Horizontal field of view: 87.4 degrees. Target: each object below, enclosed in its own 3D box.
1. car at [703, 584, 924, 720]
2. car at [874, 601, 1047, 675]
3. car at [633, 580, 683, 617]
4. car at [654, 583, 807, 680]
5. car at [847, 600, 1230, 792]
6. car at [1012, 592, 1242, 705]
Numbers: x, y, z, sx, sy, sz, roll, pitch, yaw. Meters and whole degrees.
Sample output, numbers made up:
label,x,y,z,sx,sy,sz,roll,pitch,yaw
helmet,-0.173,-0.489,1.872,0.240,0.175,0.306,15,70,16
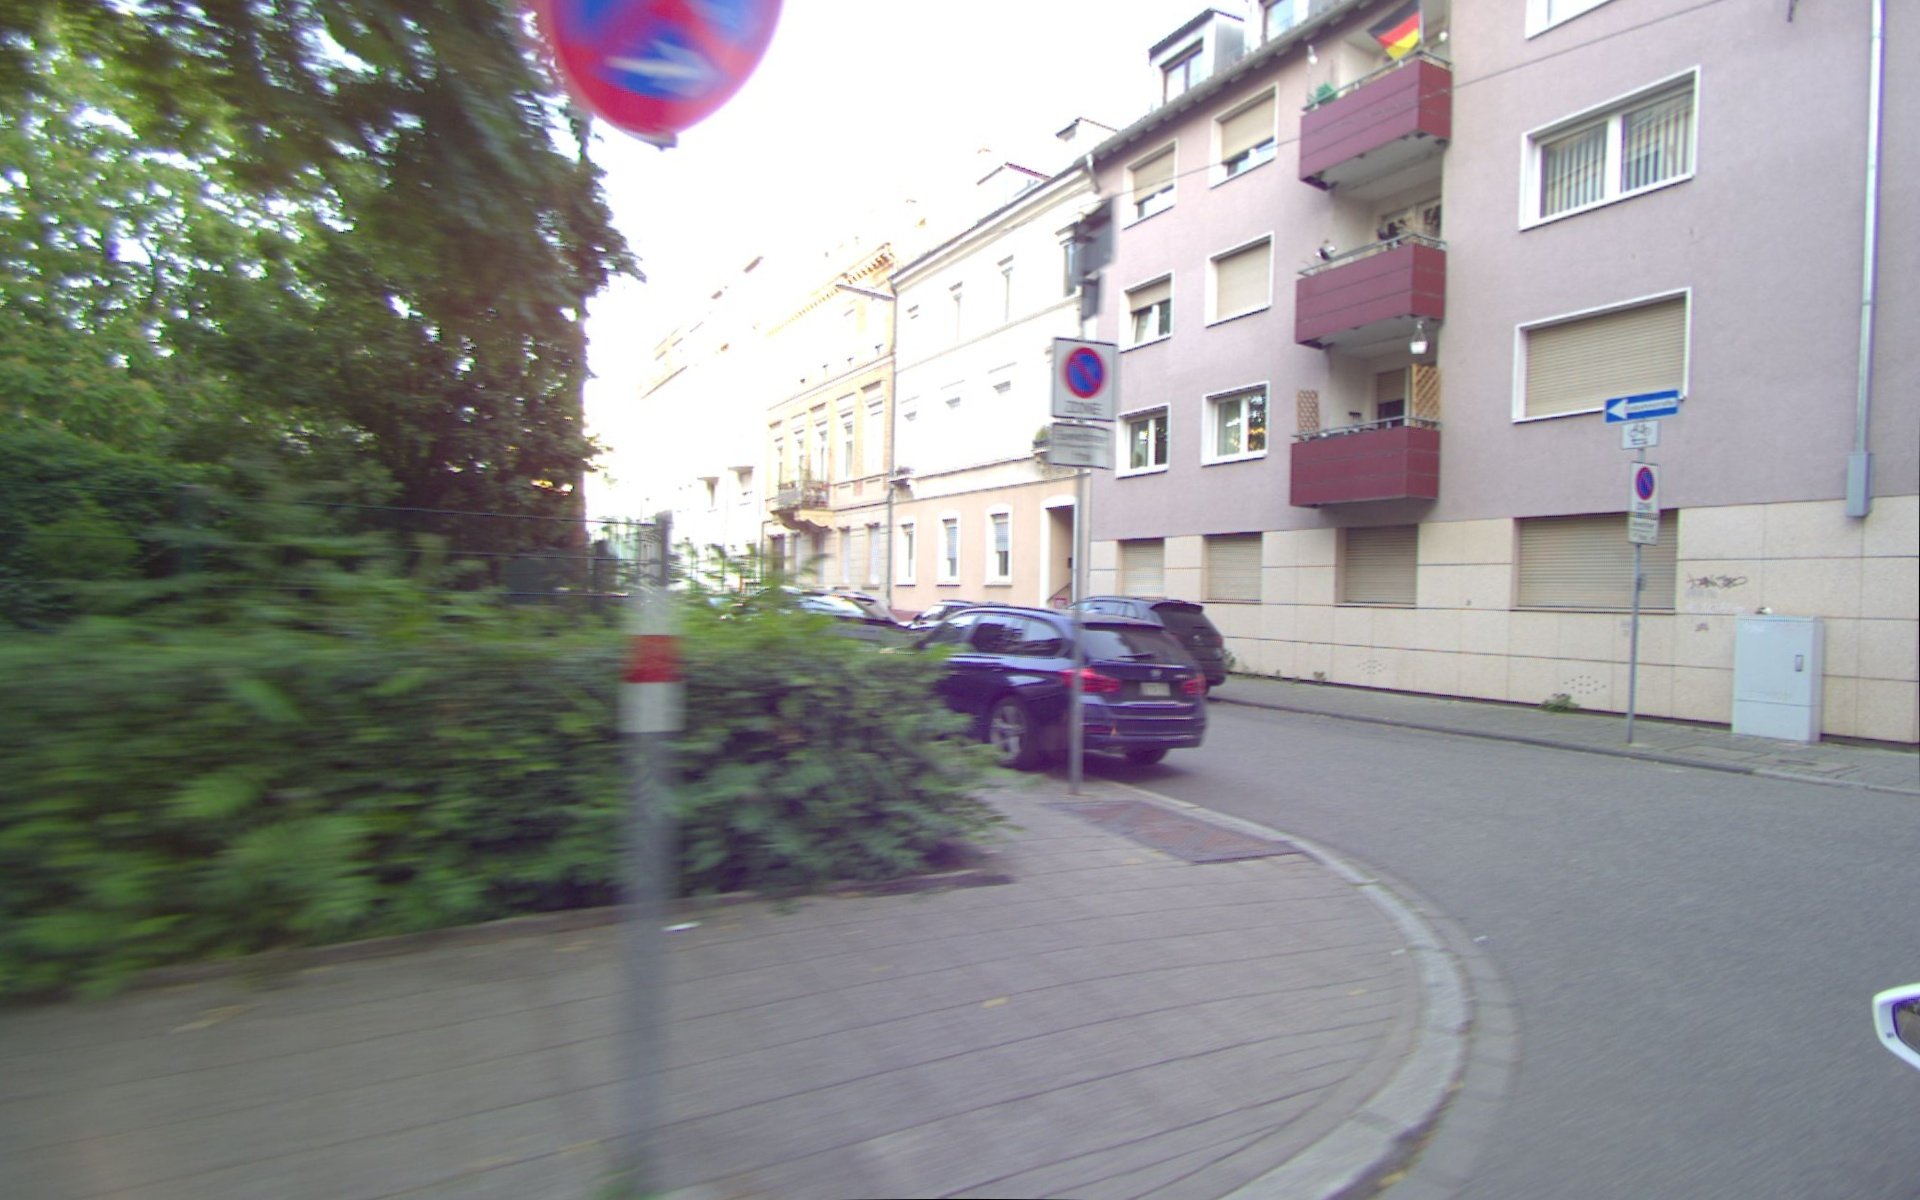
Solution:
label,x,y,z,sx,sy,sz,roll,pitch,yaw
car,-2.293,0.615,14.584,1.805,1.662,4.352,1,1,-28
car,-0.058,0.778,22.283,1.748,1.467,3.798,1,0,-42
car,-13.176,-0.087,43.689,1.480,1.540,3.160,1,1,-28
car,-4.555,0.515,19.411,1.805,1.662,4.352,1,1,-28
car,0.532,0.777,10.223,1.667,1.477,4.322,1,0,-31
car,2.723,0.766,17.165,1.776,1.677,3.812,4,-2,-31
